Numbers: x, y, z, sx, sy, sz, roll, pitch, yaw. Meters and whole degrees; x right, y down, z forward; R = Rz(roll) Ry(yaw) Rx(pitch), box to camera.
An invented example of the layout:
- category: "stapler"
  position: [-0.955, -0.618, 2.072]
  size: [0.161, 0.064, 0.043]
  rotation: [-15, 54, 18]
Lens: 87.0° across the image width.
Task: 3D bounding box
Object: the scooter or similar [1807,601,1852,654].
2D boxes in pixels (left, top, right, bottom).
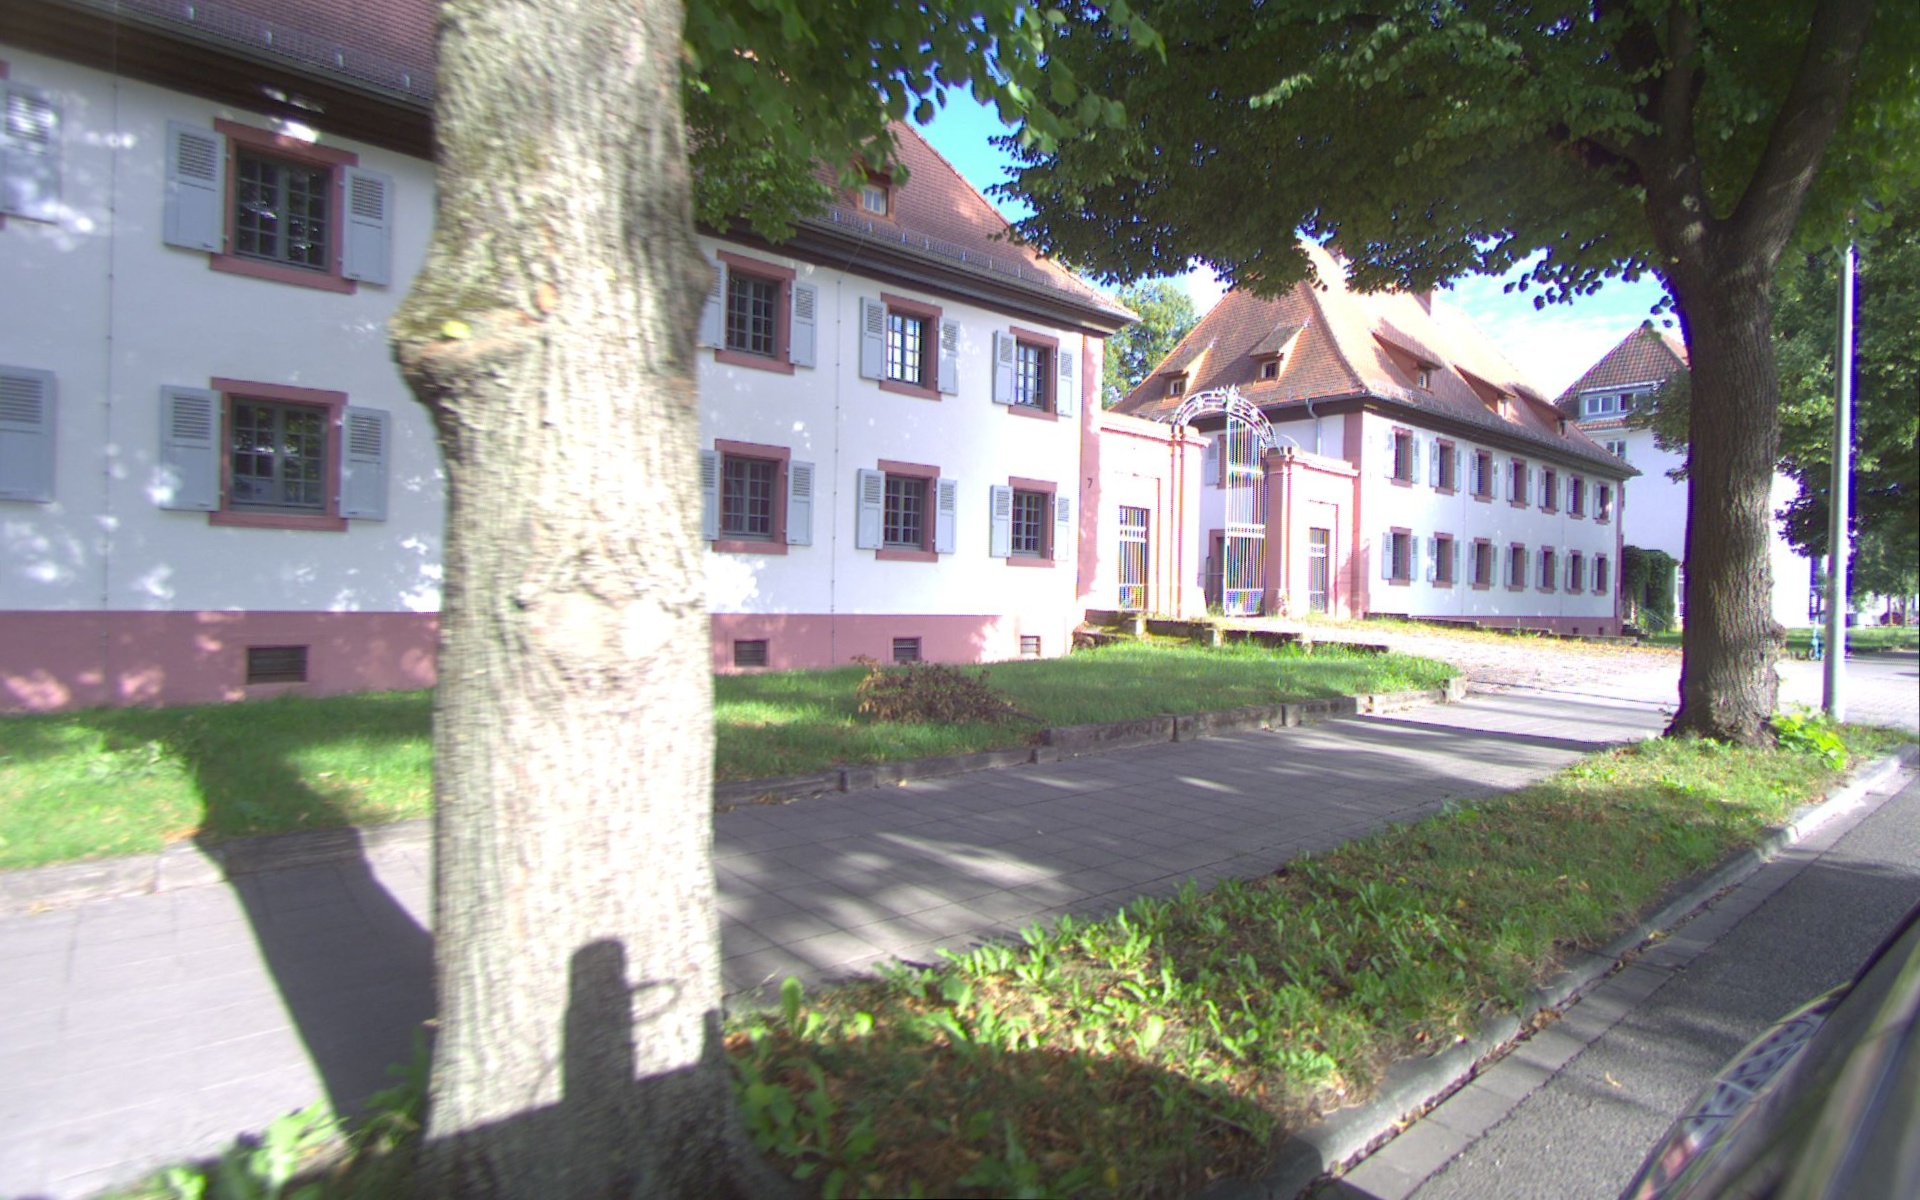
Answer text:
- category: "scooter or similar"
  position: [22.235, 0.696, 25.865]
  size: [1.356, 1.307, 0.581]
  rotation: [1, 2, -39]
